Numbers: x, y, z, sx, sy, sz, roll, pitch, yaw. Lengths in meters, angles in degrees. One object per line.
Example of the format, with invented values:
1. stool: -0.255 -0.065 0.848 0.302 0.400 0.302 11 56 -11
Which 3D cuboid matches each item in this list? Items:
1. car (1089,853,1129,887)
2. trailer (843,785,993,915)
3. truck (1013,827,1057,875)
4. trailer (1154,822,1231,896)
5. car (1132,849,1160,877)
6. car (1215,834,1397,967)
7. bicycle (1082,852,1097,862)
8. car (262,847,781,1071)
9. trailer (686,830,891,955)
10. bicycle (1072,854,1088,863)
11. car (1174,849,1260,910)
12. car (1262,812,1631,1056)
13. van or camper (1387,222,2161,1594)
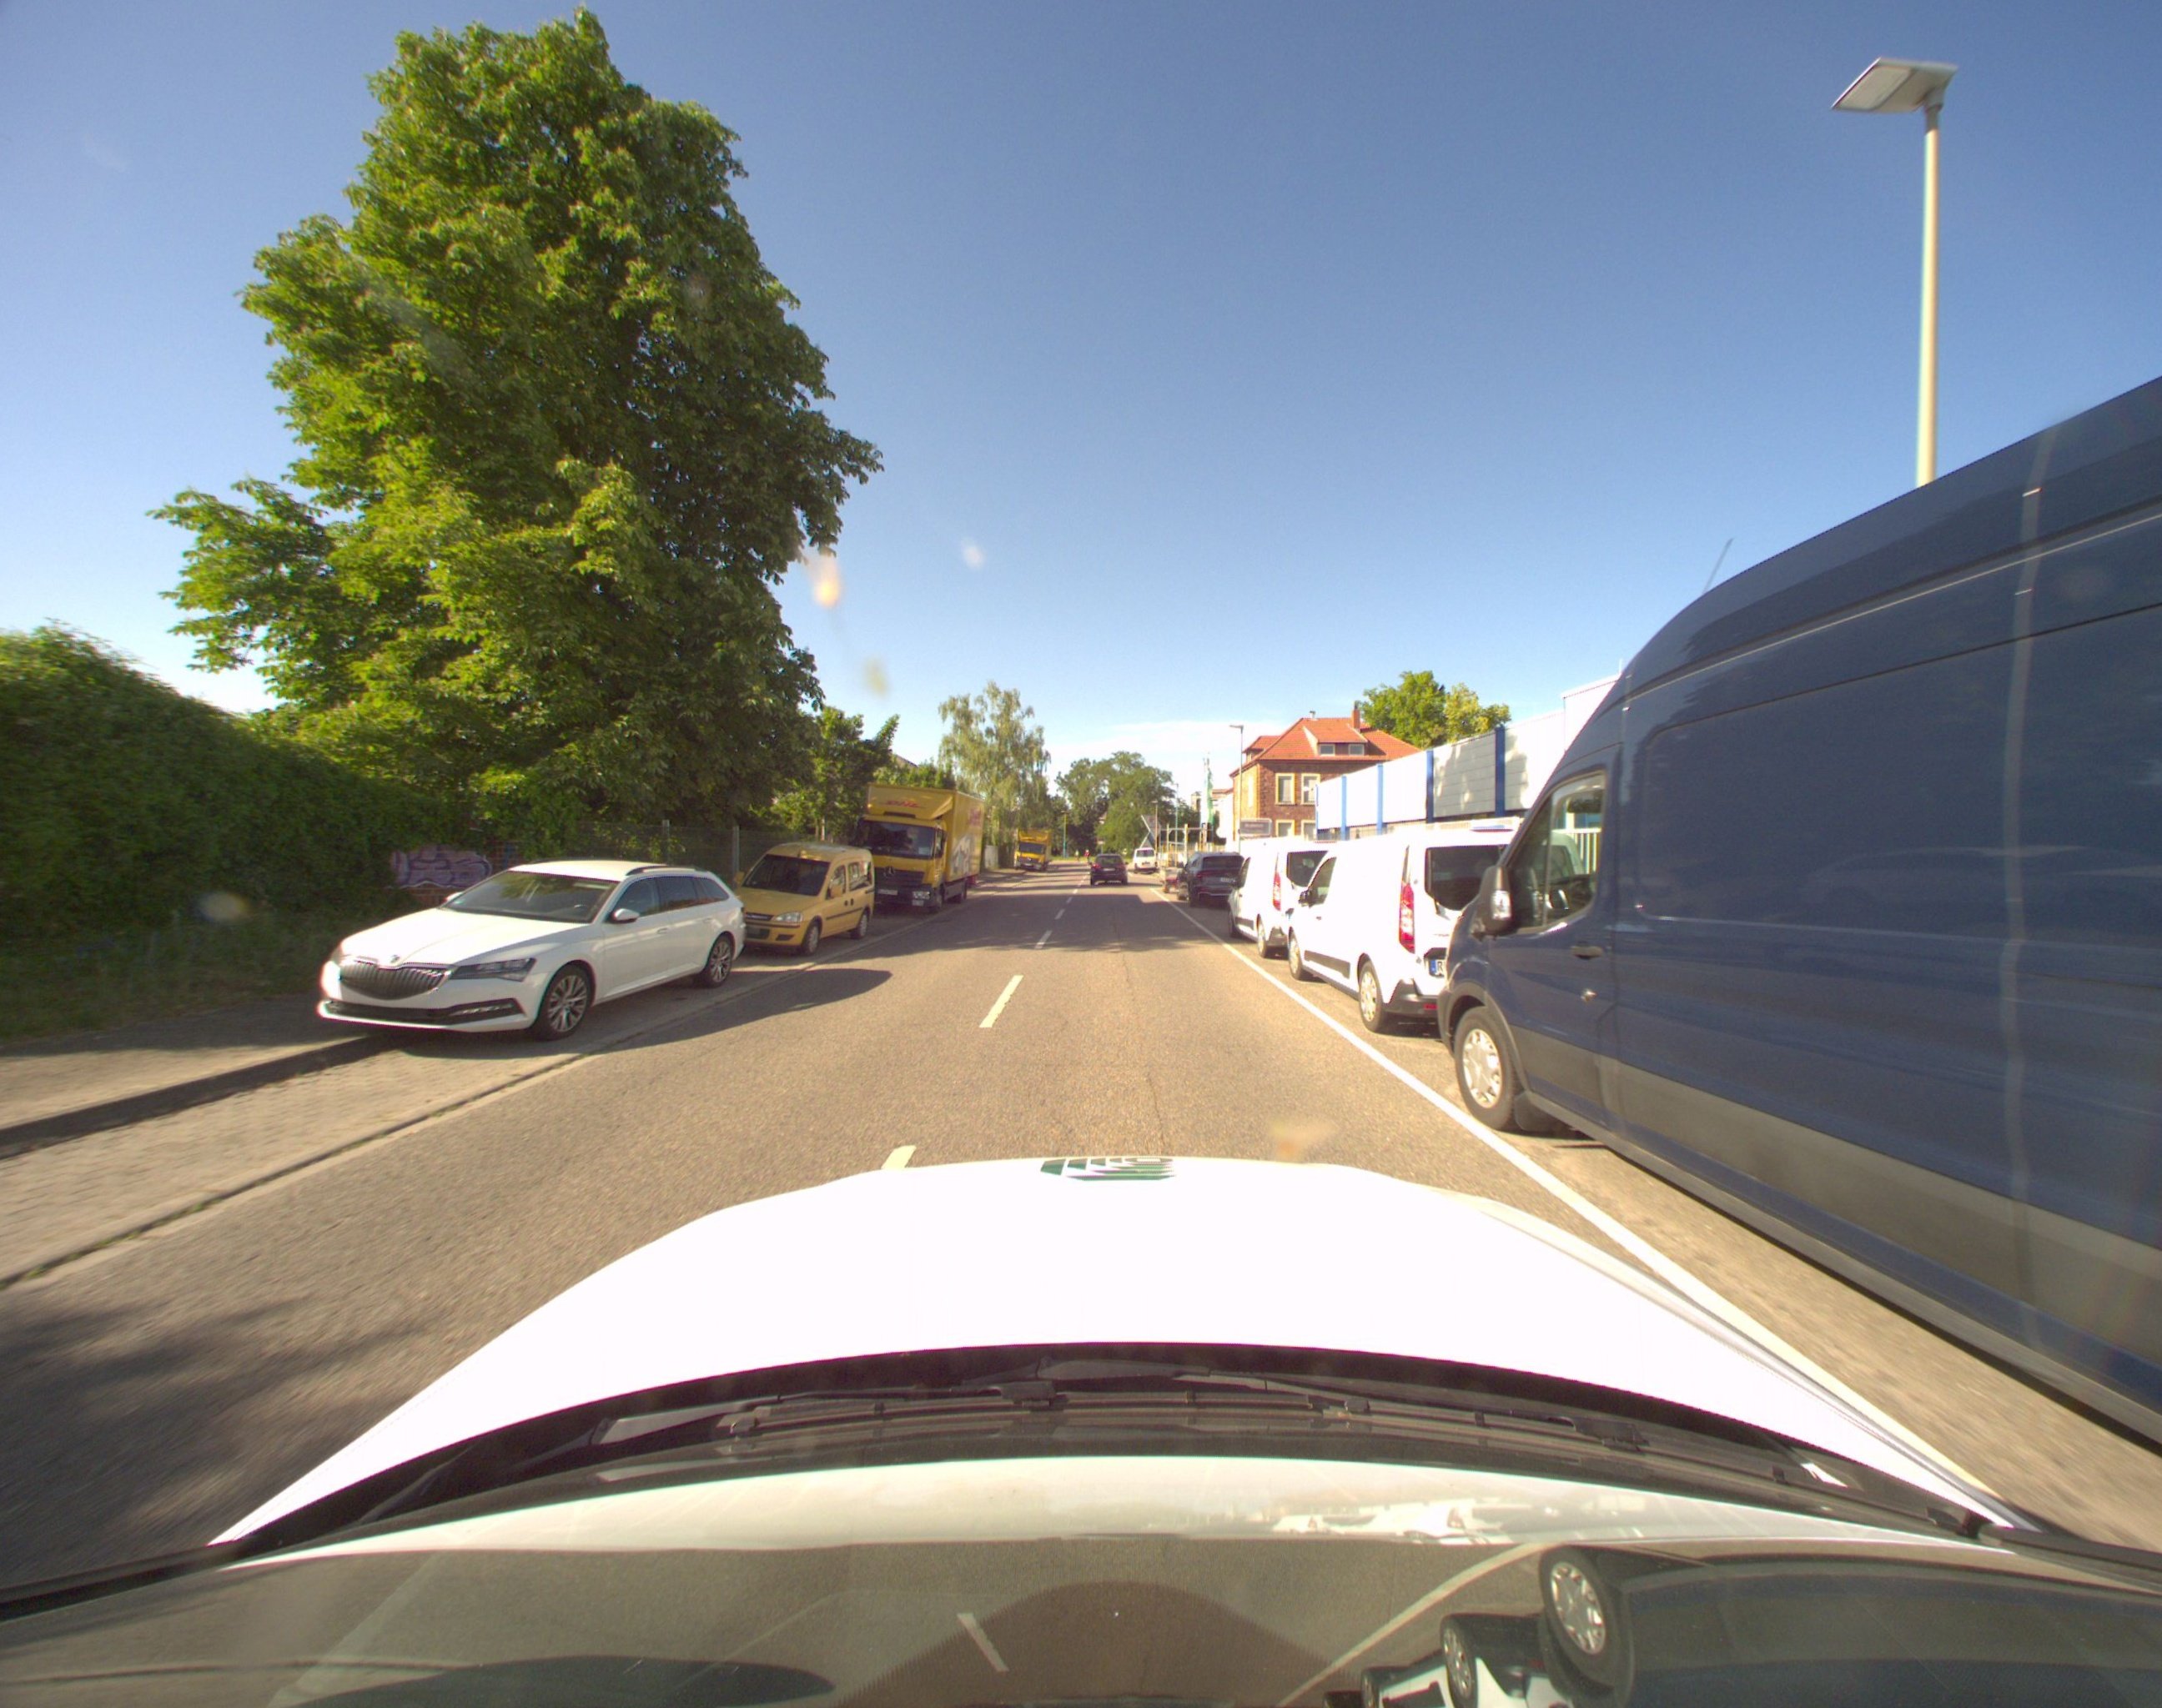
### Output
1. car: 1.373 0.715 39.139 1.840 1.530 4.003 0 0 2
2. trailer: -4.765 -0.090 25.737 2.981 3.443 8.161 0 0 1
3. truck: -3.799 -0.308 69.340 2.622 3.504 8.661 6 1 2
4. trailer: 4.351 0.195 32.632 2.451 2.673 5.703 0 0 2
5. car: 4.971 0.694 63.051 1.867 2.014 5.163 2 -1 2
6. car: 3.637 0.679 14.211 1.848 1.830 5.170 2 -1 2
7. bicycle: 1.031 0.422 104.870 0.809 1.268 2.235 3 -1 -33
8. car: -5.318 0.823 8.896 1.900 1.593 5.028 5 0 2
9. trailer: -5.047 0.608 14.823 1.986 1.941 4.417 0 0 2
10. bicycle: -0.158 0.578 108.305 0.810 1.221 2.233 3 -1 -38
11. car: 4.143 0.747 25.547 1.986 1.667 4.733 2 -1 2
12. car: 3.447 0.650 8.969 1.879 1.847 5.106 2 -1 2
13. van or camper: 3.287 0.129 2.981 2.133 2.759 6.163 2 -1 2
